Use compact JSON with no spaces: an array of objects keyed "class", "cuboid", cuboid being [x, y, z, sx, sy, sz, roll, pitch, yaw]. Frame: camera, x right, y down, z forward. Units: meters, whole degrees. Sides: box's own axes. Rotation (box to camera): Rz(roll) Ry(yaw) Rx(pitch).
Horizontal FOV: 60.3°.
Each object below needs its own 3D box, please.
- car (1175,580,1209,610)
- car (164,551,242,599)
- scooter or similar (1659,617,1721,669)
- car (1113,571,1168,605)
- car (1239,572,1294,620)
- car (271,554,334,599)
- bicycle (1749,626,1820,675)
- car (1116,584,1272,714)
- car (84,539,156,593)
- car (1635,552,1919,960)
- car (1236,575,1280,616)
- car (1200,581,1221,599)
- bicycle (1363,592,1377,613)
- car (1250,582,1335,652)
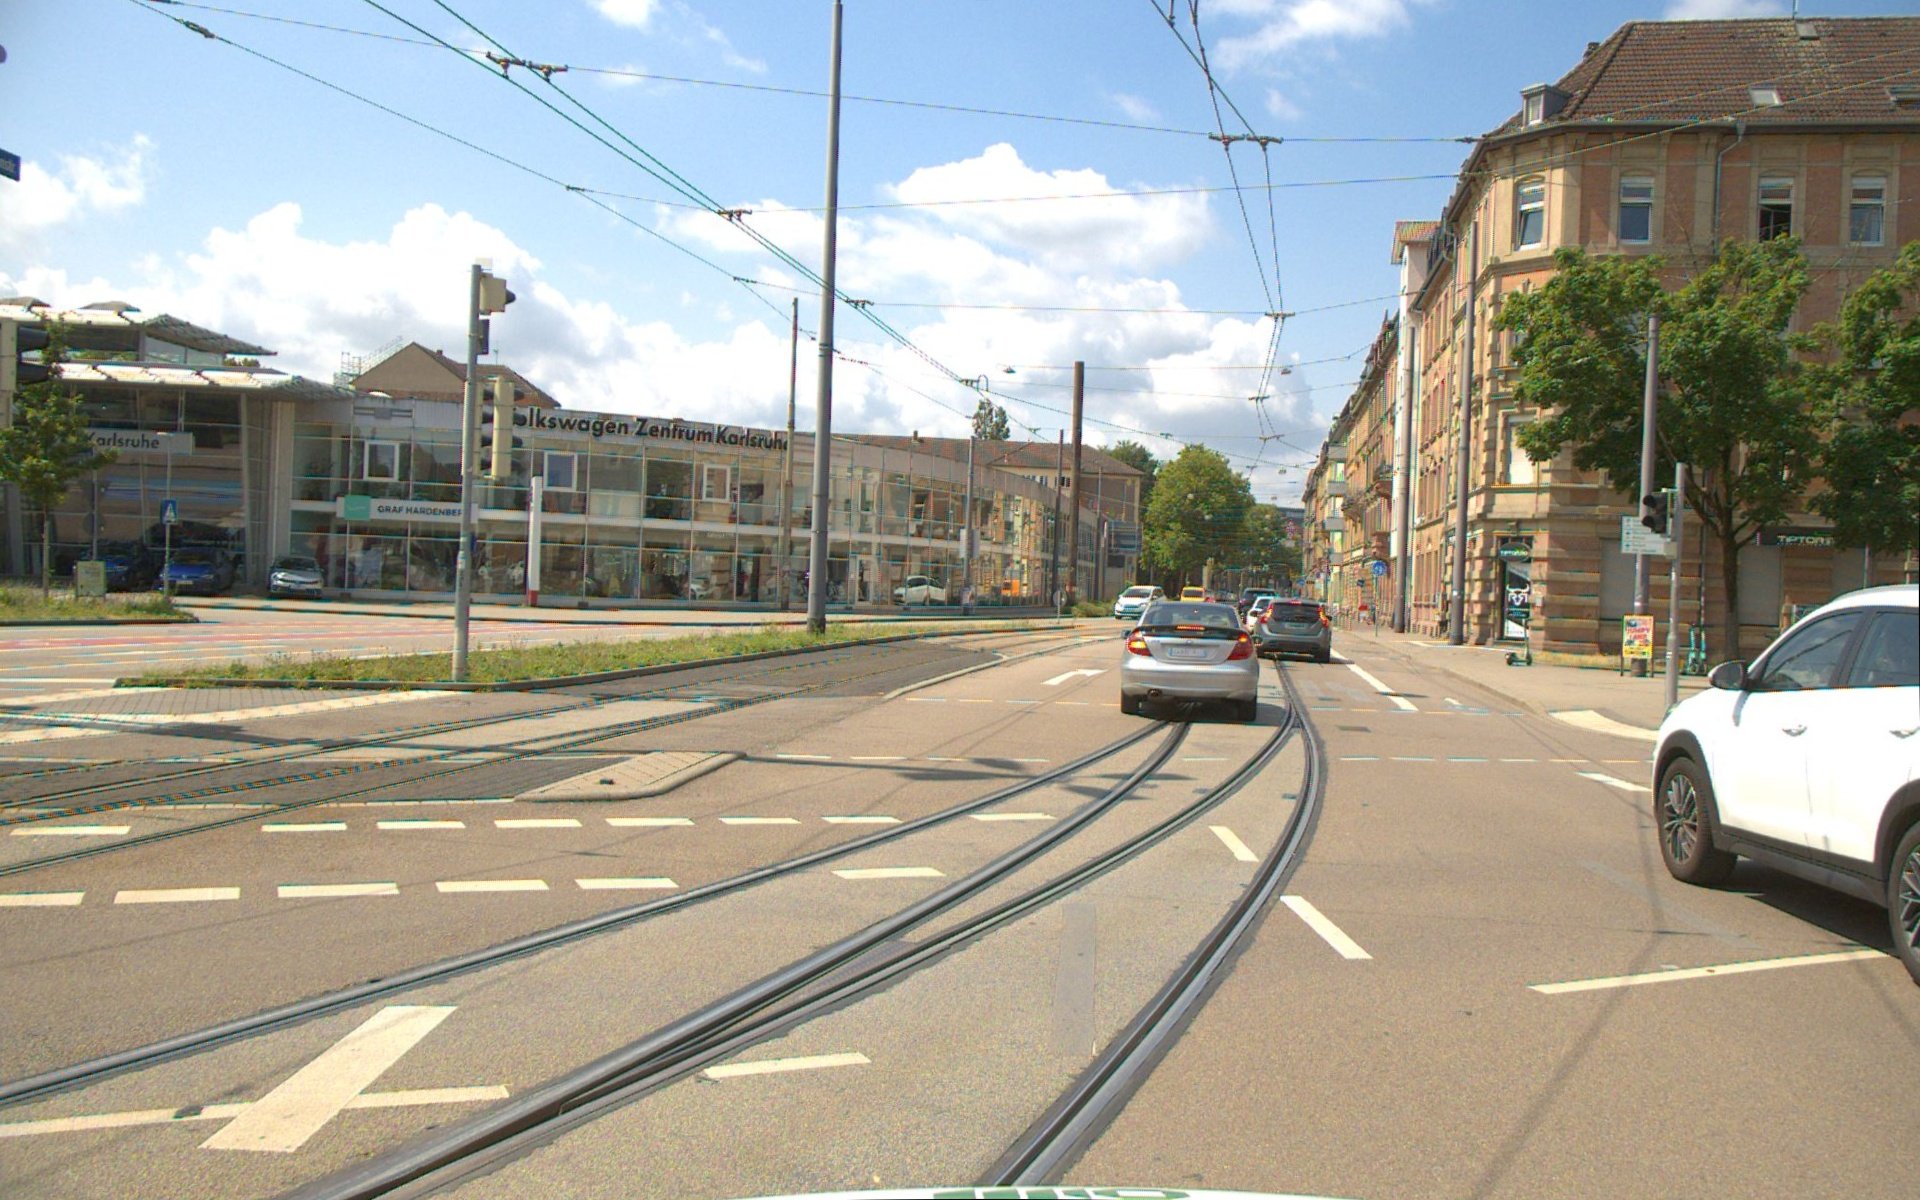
[{"class":"car","cuboid":[15.433,-0.315,109.751,1.870,1.898,4.371,1,0,13]},{"class":"car","cuboid":[-25.571,-0.863,55.990,1.626,1.499,3.776,2,1,-13]},{"class":"scooter or similar","cuboid":[17.859,1.042,40.490,0.928,1.224,1.391,1,0,3]},{"class":"car","cuboid":[9.041,-0.578,82.522,1.730,1.632,4.494,1,0,20]},{"class":"car","cuboid":[10.652,-0.180,57.553,1.776,1.550,3.959,2,1,10]},{"class":"car","cuboid":[-23.180,-0.840,58.238,1.806,1.472,3.915,2,0,-25]},{"class":"bicycle","cuboid":[19.959,1.207,40.095,1.003,1.100,2.265,1,0,13]},{"class":"car","cuboid":[3.044,0.549,21.526,1.776,1.444,4.191,2,1,8]},{"class":"car","cuboid":[-28.546,-1.153,56.194,1.755,1.702,3.597,2,0,-33]},{"class":"car","cuboid":[4.897,0.649,7.836,1.813,1.662,4.182,2,1,3]},{"class":"car","cuboid":[12.995,-0.192,72.158,1.776,1.690,4.088,2,0,10]},{"class":"car","cuboid":[21.794,-0.886,143.892,1.666,1.453,3.905,2,0,8]},{"class":"bicycle","cuboid":[23.411,0.134,94.461,0.574,1.198,2.207,2,1,11]},{"class":"car","cuboid":[8.087,0.372,40.526,1.776,1.550,4.089,2,1,8]}]
